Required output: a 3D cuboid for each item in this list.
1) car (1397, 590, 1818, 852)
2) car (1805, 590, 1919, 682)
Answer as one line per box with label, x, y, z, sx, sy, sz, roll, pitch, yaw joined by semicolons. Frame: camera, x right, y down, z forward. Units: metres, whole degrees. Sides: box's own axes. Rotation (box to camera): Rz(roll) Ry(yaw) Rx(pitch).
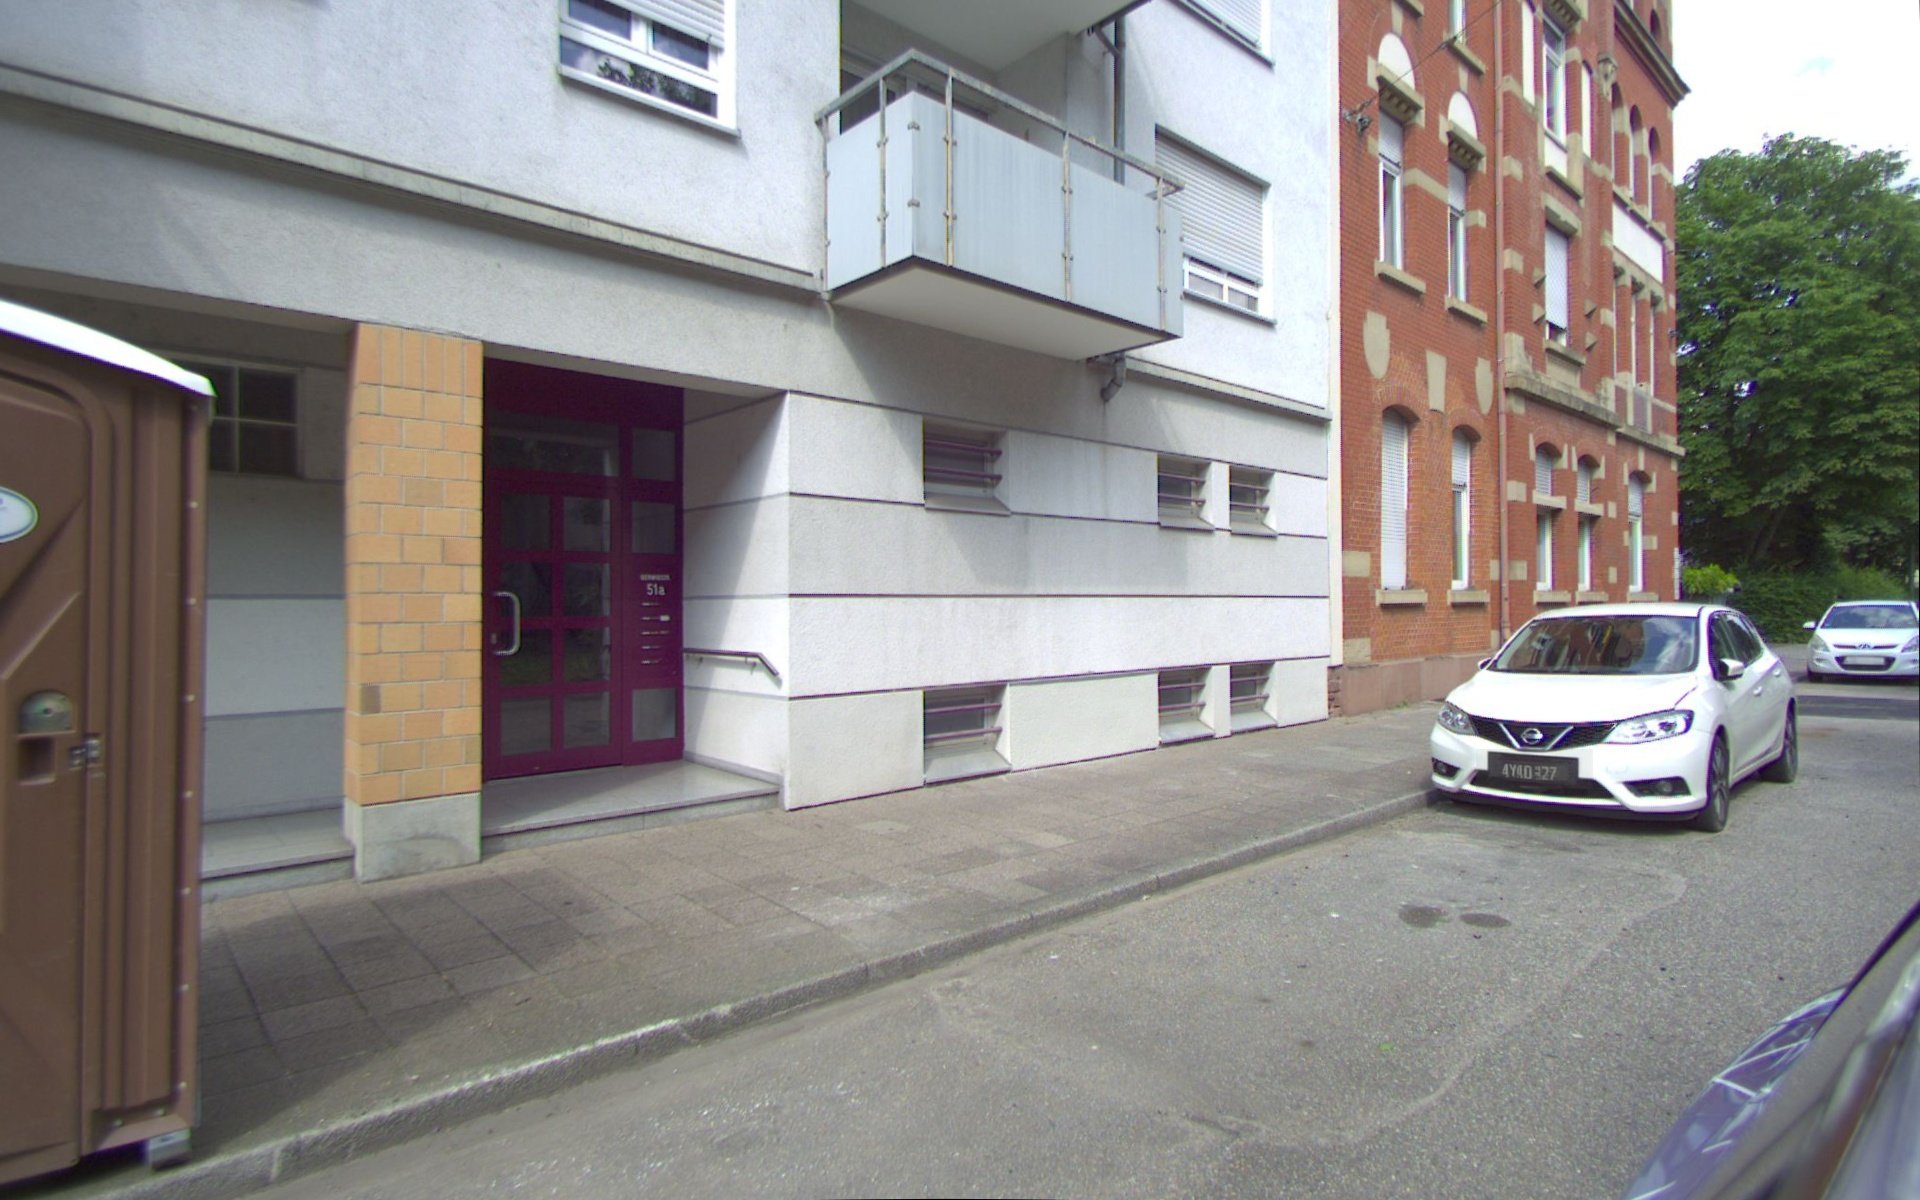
car;5.256;0.723;8.009;3.971;1.549;1.799;0;-1;-42
car;17.204;0.609;18.749;3.972;1.549;1.798;0;-1;-42
